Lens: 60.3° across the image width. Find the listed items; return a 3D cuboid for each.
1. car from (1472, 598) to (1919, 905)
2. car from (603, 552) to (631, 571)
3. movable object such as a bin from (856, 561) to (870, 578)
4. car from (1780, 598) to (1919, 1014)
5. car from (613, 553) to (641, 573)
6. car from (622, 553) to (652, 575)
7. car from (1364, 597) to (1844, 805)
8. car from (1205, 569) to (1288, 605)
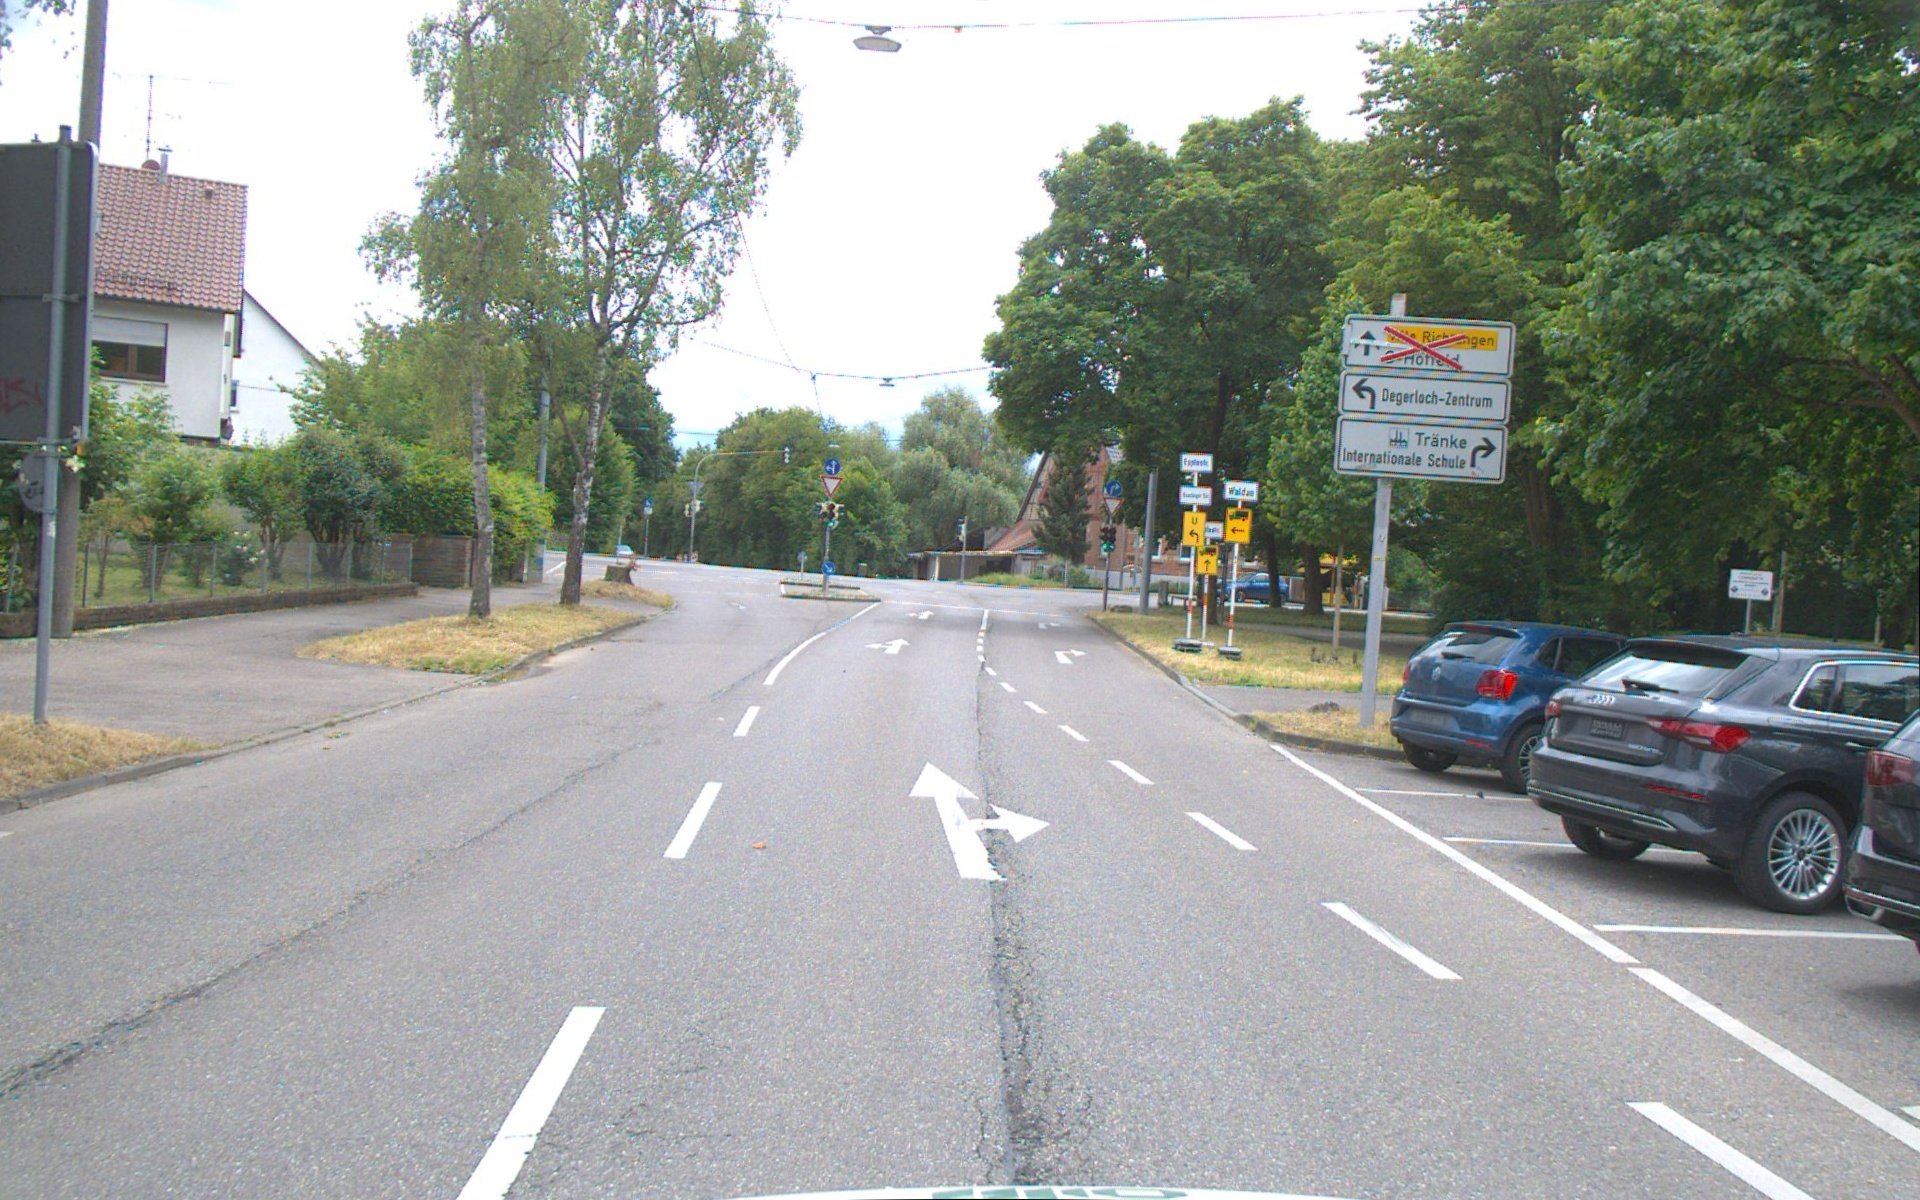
[{"bbox_3d":[5.255,0.921,9.809,3.813,1.450,1.821,6,-1,-17],"label":"car"},{"bbox_3d":[-28.514,-3.203,137.510,1.766,1.434,3.981,3,1,-18],"label":"car"},{"bbox_3d":[-5.878,-1.861,100.320,0.625,1.018,0.579,4,-1,-27],"label":"movable object such as a bin"},{"bbox_3d":[5.503,0.974,6.613,3.759,1.554,1.738,6,-1,-17],"label":"car"},{"bbox_3d":[-26.574,-2.976,131.902,1.766,1.434,3.981,3,1,-18],"label":"car"},{"bbox_3d":[-24.756,-2.738,126.789,1.766,1.538,3.981,3,1,-18],"label":"car"},{"bbox_3d":[5.847,0.905,15.104,3.759,1.449,1.738,6,-1,-17],"label":"car"},{"bbox_3d":[15.067,-0.676,87.104,3.787,1.675,1.990,3,1,-19],"label":"car"}]
